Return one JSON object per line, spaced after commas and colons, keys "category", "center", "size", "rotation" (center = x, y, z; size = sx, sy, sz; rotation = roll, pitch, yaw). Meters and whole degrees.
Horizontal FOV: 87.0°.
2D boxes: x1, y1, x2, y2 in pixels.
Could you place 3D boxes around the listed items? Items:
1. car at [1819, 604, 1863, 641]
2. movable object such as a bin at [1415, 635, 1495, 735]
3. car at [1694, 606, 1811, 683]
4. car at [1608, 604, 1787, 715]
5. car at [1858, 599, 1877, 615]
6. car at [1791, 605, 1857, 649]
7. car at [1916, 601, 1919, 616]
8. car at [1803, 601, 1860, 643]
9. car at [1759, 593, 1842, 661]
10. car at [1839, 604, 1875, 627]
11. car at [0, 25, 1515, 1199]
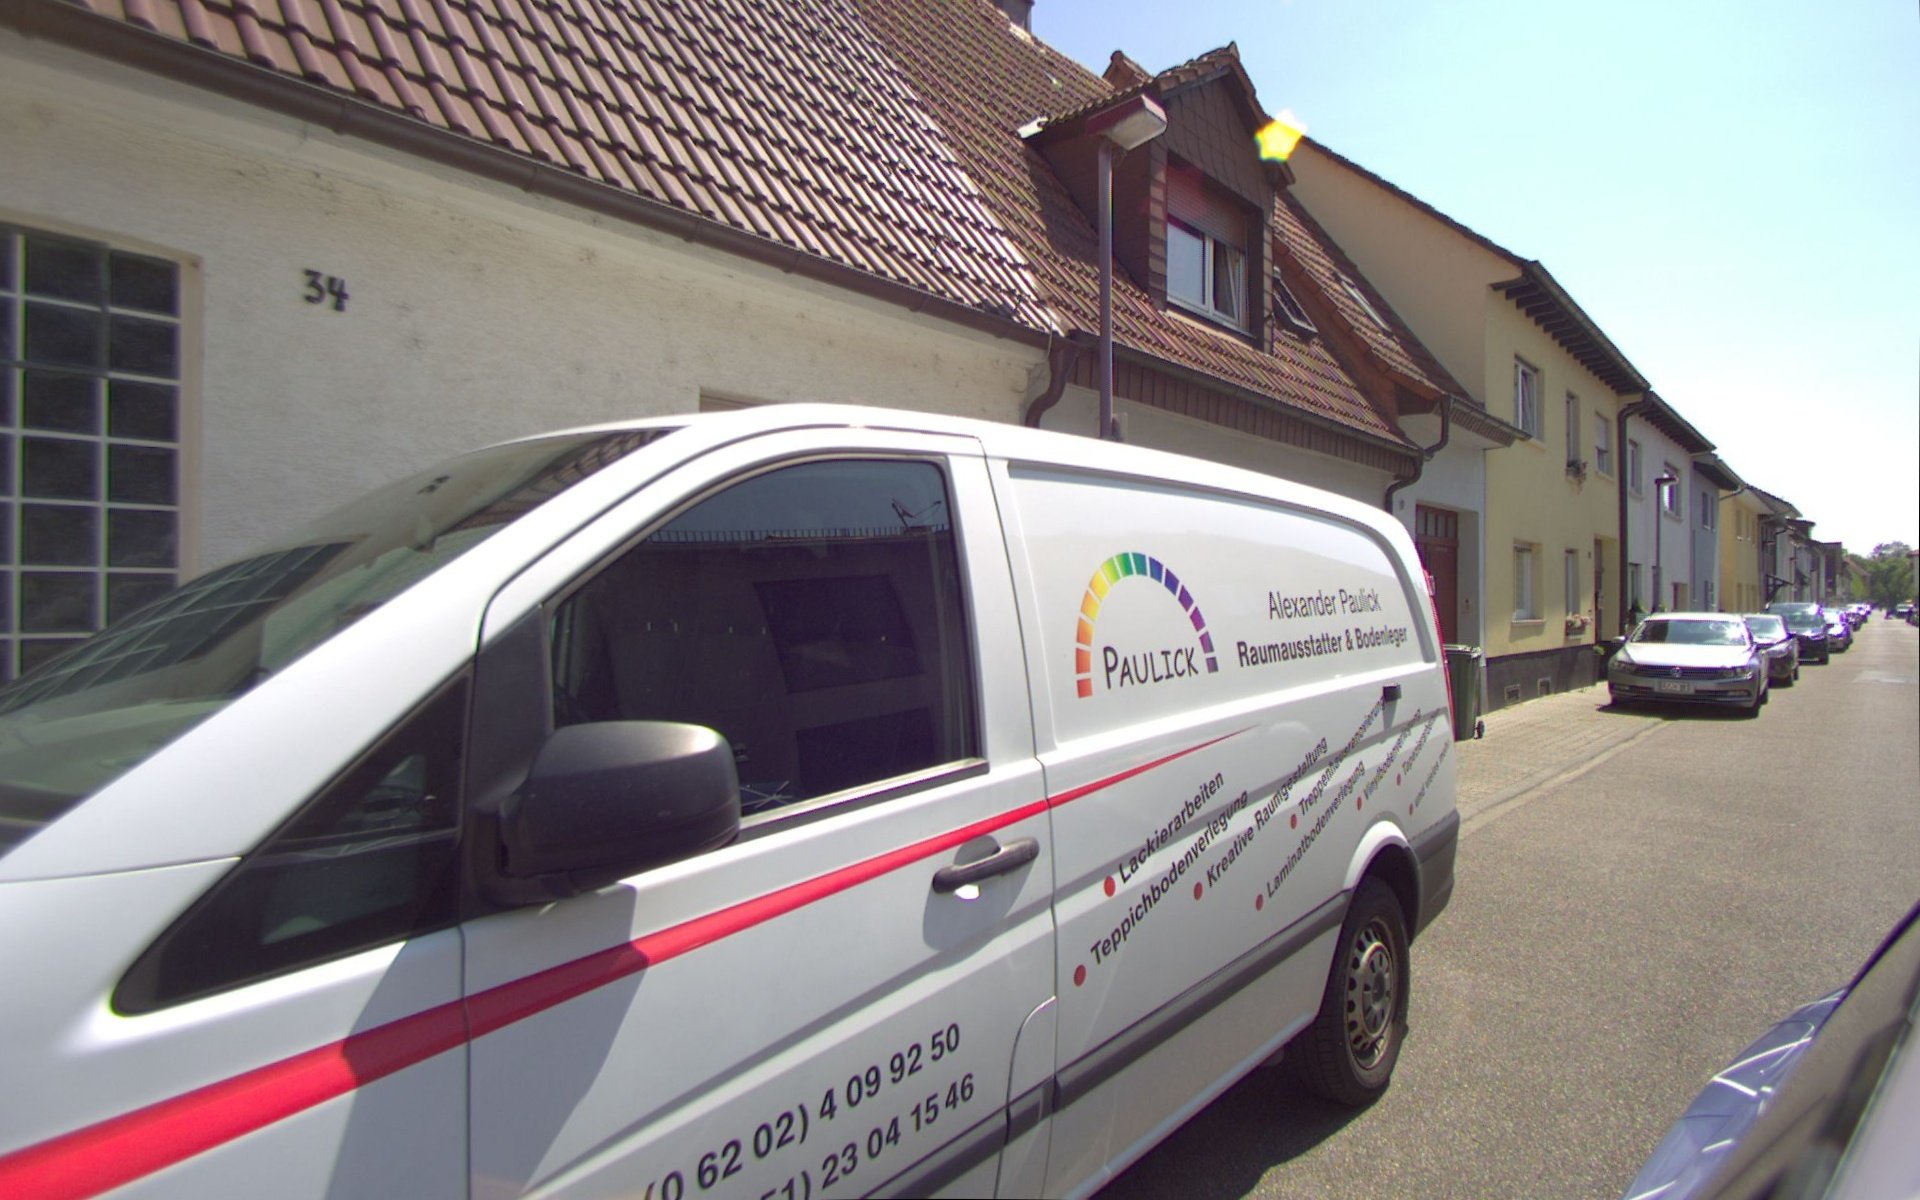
{"category": "car", "center": [38.947, 0.973, 44.744], "size": [1.398, 1.547, 3.347], "rotation": [-2, -1, 42]}
{"category": "movable object such as a bin", "center": [5.824, 0.973, 11.895], "size": [0.658, 1.085, 0.801], "rotation": [0, -1, 41]}
{"category": "car", "center": [16.756, 0.866, 21.322], "size": [1.695, 1.453, 4.041], "rotation": [-2, -1, 41]}
{"category": "car", "center": [11.781, 0.825, 16.029], "size": [1.837, 1.467, 4.704], "rotation": [-2, -1, 41]}
{"category": "car", "center": [97.787, 0.775, 109.044], "size": [1.410, 1.634, 3.272], "rotation": [1, 1, 43]}
{"category": "car", "center": [31.468, 0.936, 36.823], "size": [1.661, 1.432, 4.183], "rotation": [1, 1, 42]}
{"category": "car", "center": [94.861, 0.843, 99.303], "size": [1.410, 1.415, 3.272], "rotation": [1, 1, 43]}
{"category": "car", "center": [35.094, 0.859, 40.782], "size": [1.677, 1.604, 3.904], "rotation": [-1, -1, 41]}
{"category": "car", "center": [24.526, 0.716, 29.476], "size": [1.695, 1.800, 4.136], "rotation": [-1, 0, 42]}
{"category": "car", "center": [61.860, 1.061, 69.789], "size": [1.731, 1.531, 3.568], "rotation": [-2, -1, 43]}
{"category": "car", "center": [-0.428, 0.510, 2.560], "size": [2.011, 1.862, 5.184], "rotation": [-2, -1, 43]}
